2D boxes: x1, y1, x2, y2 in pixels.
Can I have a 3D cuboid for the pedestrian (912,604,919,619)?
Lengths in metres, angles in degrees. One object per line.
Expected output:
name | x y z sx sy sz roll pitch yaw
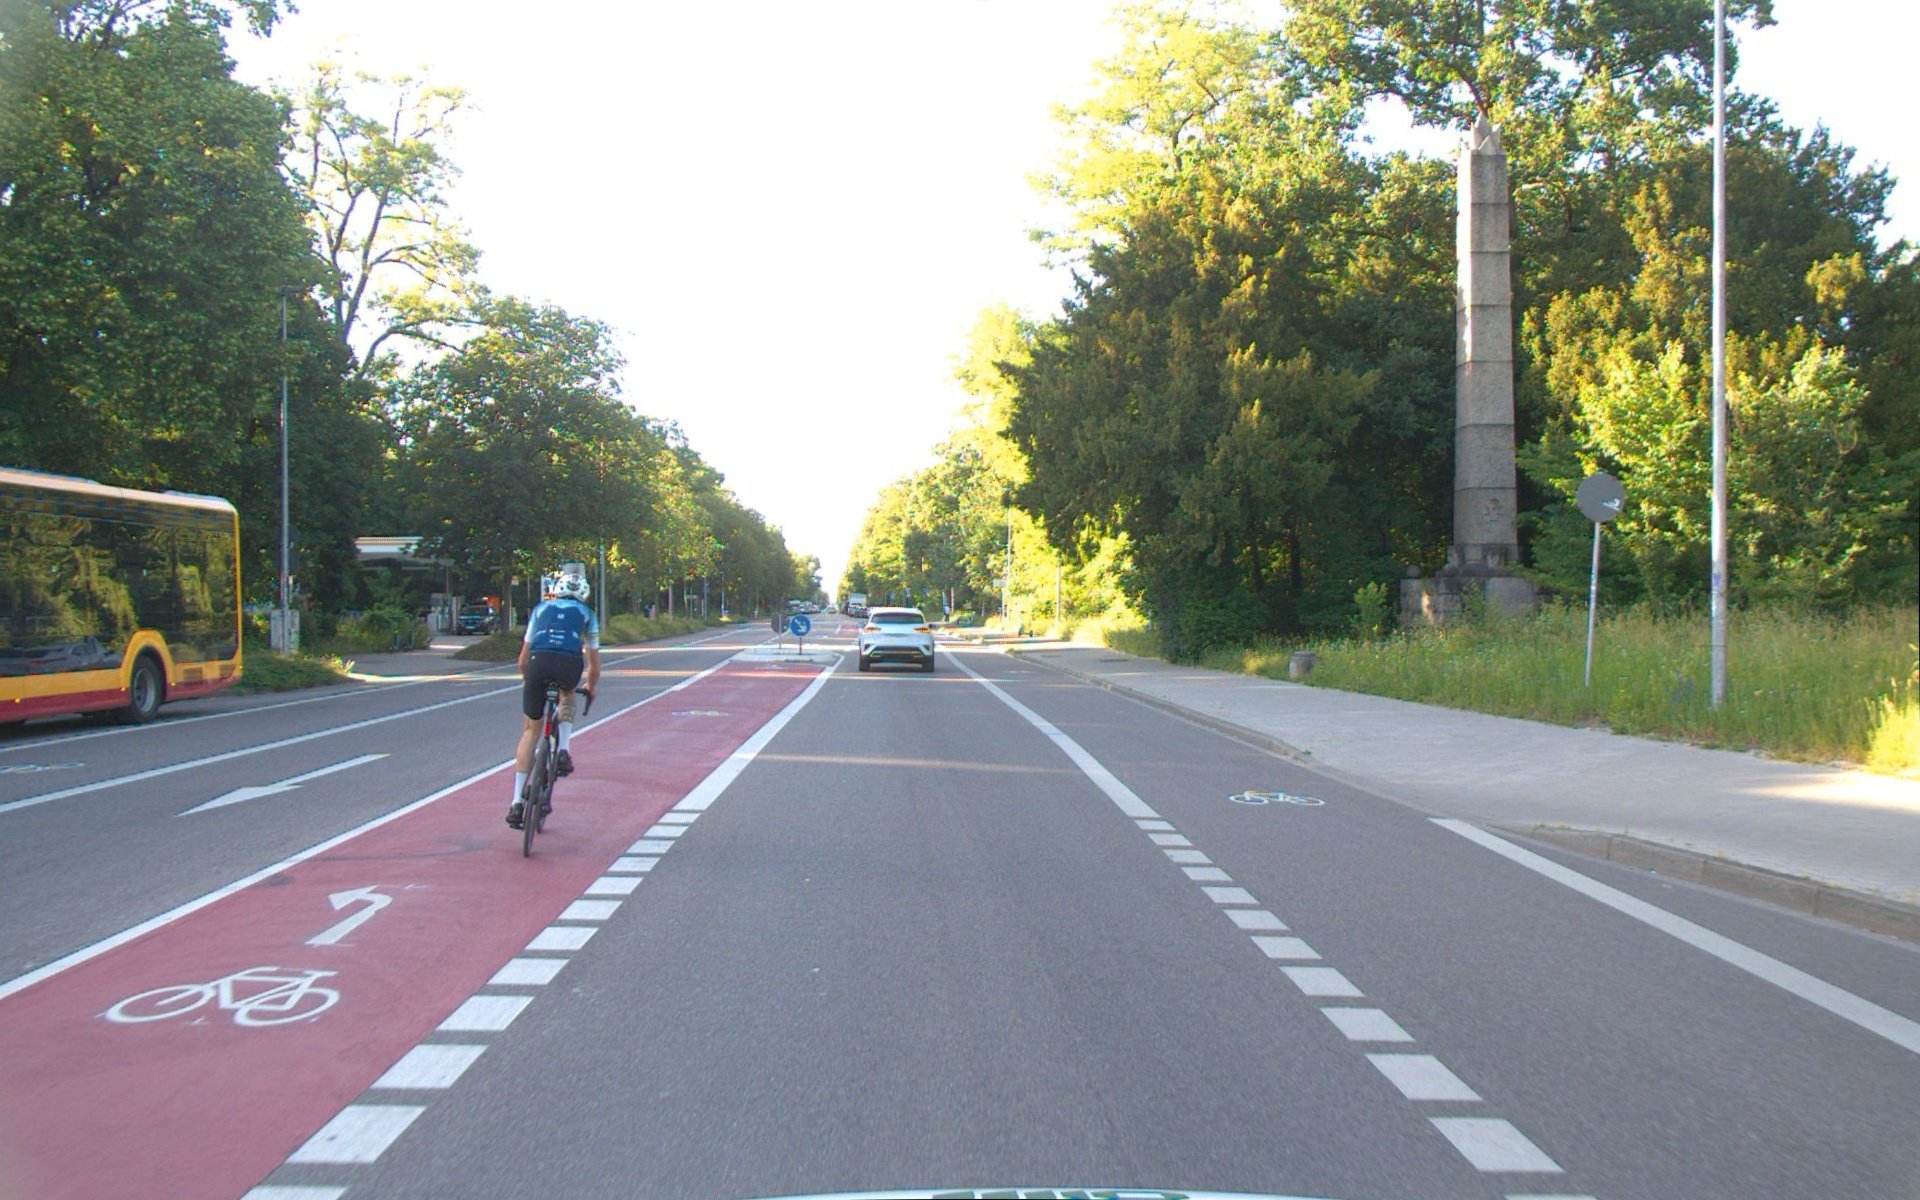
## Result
pedestrian | -5.056 1.300 188.951 0.685 1.682 0.875 -1 0 -5

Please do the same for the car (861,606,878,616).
car | -12.092 1.438 220.727 1.956 1.350 3.993 -1 0 -7

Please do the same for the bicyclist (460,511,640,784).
bicyclist | -2.495 0.278 10.156 0.842 1.594 0.881 1 0 1

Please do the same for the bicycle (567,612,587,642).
bicycle | -16.339 1.143 70.576 0.642 1.272 2.155 -1 0 -9

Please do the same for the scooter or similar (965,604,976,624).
scooter or similar | 0.759 1.015 123.350 0.668 1.448 1.680 0 0 -4

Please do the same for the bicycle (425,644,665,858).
bicycle | -2.493 0.862 10.234 0.873 1.114 2.136 1 0 2

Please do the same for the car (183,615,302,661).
car | -24.199 1.264 55.908 1.527 1.424 3.487 -3 -1 27

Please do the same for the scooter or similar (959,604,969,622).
scooter or similar | 0.344 1.033 132.350 0.668 1.448 1.680 0 0 -4

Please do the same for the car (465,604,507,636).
car | -26.966 1.112 94.228 1.678 1.721 4.446 -1 0 -8

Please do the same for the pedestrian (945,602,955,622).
pedestrian | -0.835 0.924 132.493 0.739 1.591 0.802 -1 0 2

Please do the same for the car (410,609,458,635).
car | -31.306 1.295 98.562 1.677 1.524 4.573 -1 0 -5

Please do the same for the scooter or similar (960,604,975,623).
scooter or similar | 0.562 1.022 127.294 0.671 1.448 1.673 0 0 -17

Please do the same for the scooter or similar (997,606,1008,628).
scooter or similar | 2.500 0.974 97.661 0.522 1.272 1.540 0 0 -4

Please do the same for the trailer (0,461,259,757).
trailer | -12.529 0.092 21.686 2.797 3.414 9.359 1 -1 -1

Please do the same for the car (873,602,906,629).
car | -4.326 0.934 101.326 1.954 1.545 3.997 -1 0 -3

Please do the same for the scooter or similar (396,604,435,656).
scooter or similar | -18.623 1.010 56.587 0.811 1.747 1.740 -1 0 -3

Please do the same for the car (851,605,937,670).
car | -1.648 0.881 40.317 1.728 1.485 3.811 1 0 -7

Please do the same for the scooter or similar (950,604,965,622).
scooter or similar | -0.200 1.042 130.998 0.672 1.448 1.672 0 0 -19

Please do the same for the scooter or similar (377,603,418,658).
scooter or similar | -18.563 0.993 54.645 0.811 1.747 1.740 -1 0 -3

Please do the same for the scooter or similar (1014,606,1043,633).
scooter or similar | 3.320 0.943 79.835 0.525 1.272 1.531 -1 0 42

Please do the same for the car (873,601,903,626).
car | -4.362 0.822 100.564 1.642 1.442 3.573 -1 0 0
